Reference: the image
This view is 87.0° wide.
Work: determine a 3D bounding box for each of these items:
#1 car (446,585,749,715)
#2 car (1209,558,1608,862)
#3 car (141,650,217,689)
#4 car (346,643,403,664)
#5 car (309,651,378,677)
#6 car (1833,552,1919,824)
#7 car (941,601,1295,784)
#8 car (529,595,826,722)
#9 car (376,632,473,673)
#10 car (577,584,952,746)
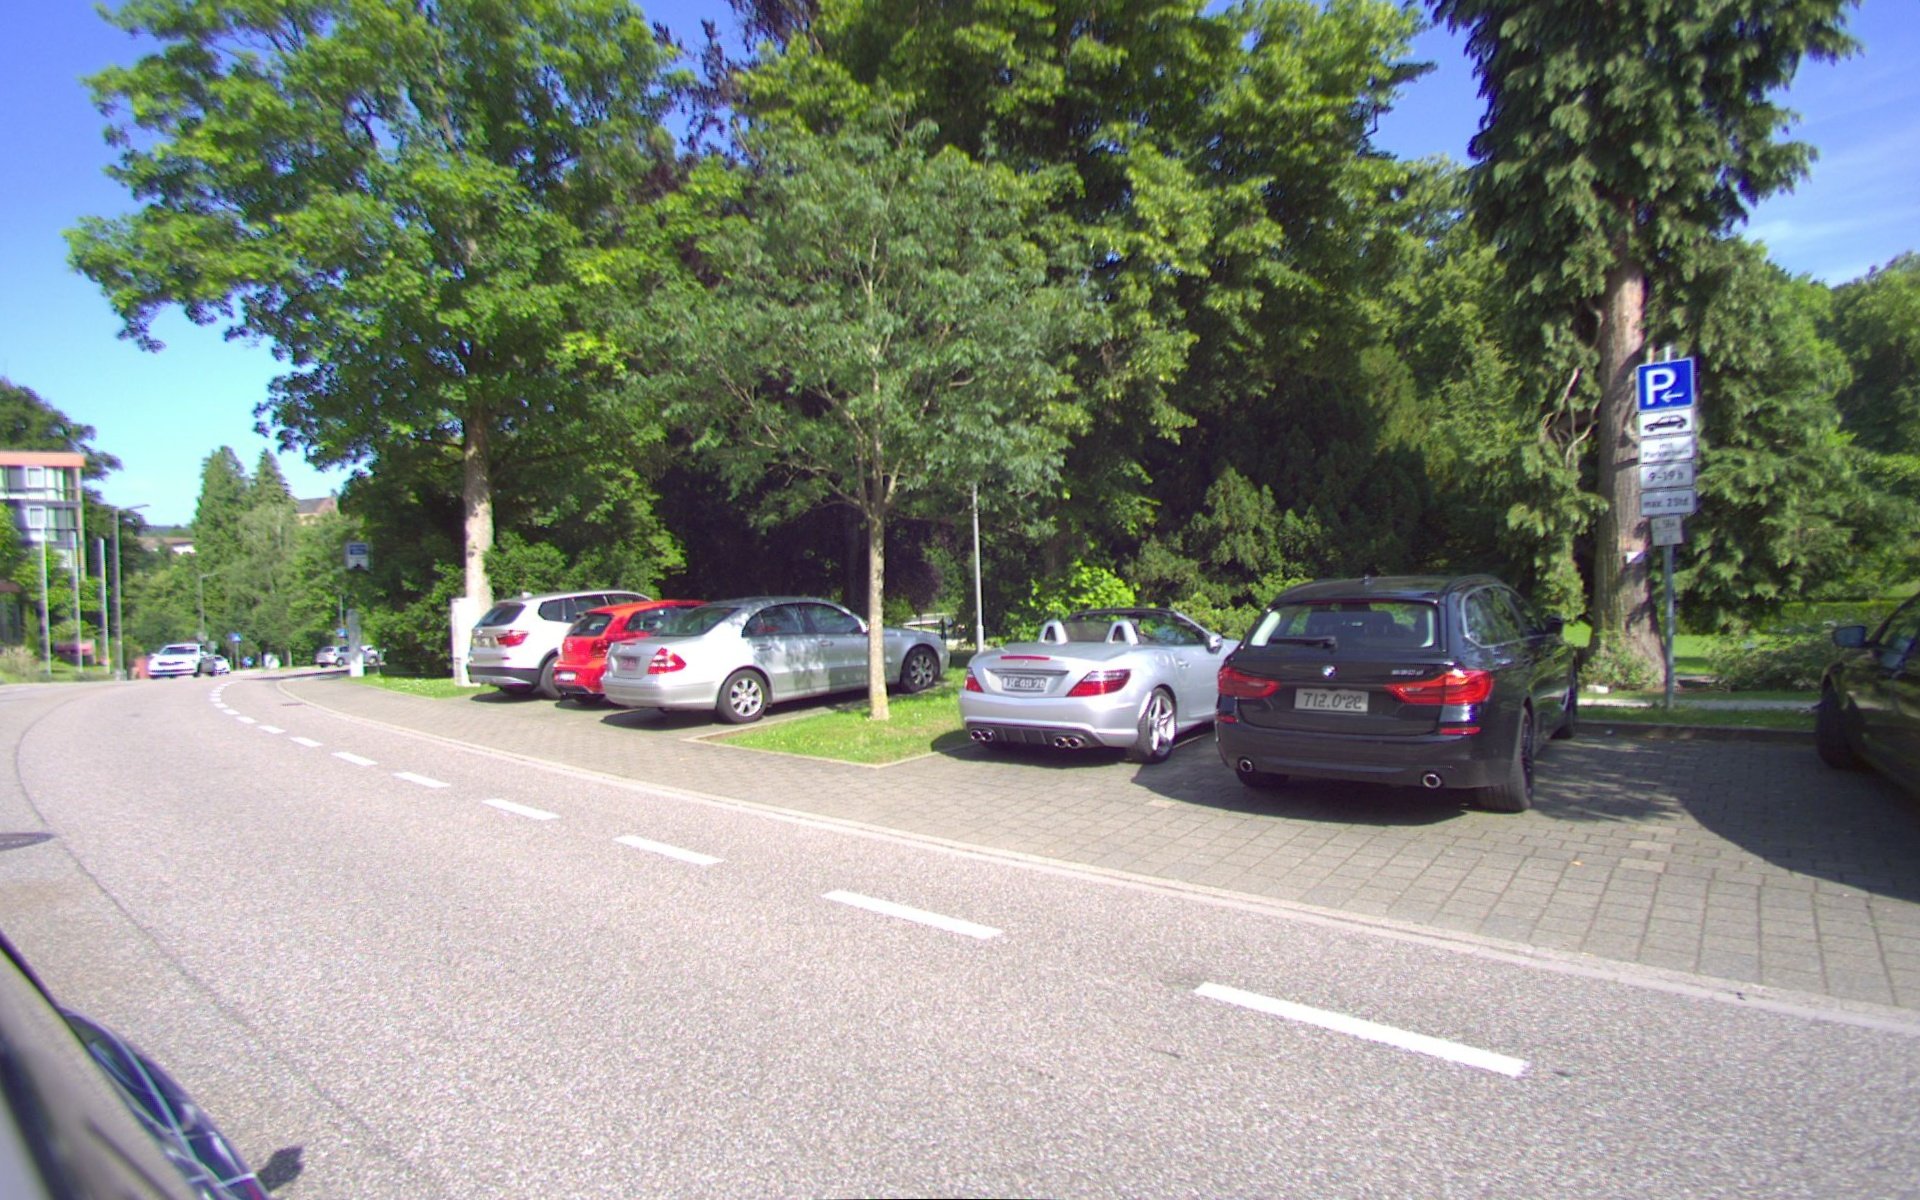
[{"bbox_3d":[-5.945,0.723,17.074,1.809,1.675,4.437,-1,3,41],"label":"car"},{"bbox_3d":[3.612,0.526,7.588,1.710,1.521,4.452,-2,1,37],"label":"car"},{"bbox_3d":[-33.089,2.905,42.969,1.711,1.508,3.942,-1,-2,-25],"label":"car"},{"bbox_3d":[-50.965,4.628,88.102,1.515,1.488,3.946,-6,-2,41],"label":"car"},{"bbox_3d":[-43.649,4.514,71.681,1.507,1.408,3.968,-6,-1,24],"label":"car"},{"bbox_3d":[6.004,0.485,5.149,1.707,1.442,4.243,-2,2,32],"label":"car"},{"bbox_3d":[1.688,0.723,9.724,1.760,1.252,3.759,-2,1,37],"label":"car"},{"bbox_3d":[-4.138,0.767,15.266,1.720,1.443,3.943,-1,3,44],"label":"car"},{"bbox_3d":[-23.403,2.296,44.366,3.626,1.498,1.571,-4,-1,-25],"label":"car"},{"bbox_3d":[-2.365,0.686,13.098,4.432,1.428,1.811,-7,4,-44],"label":"car"}]
